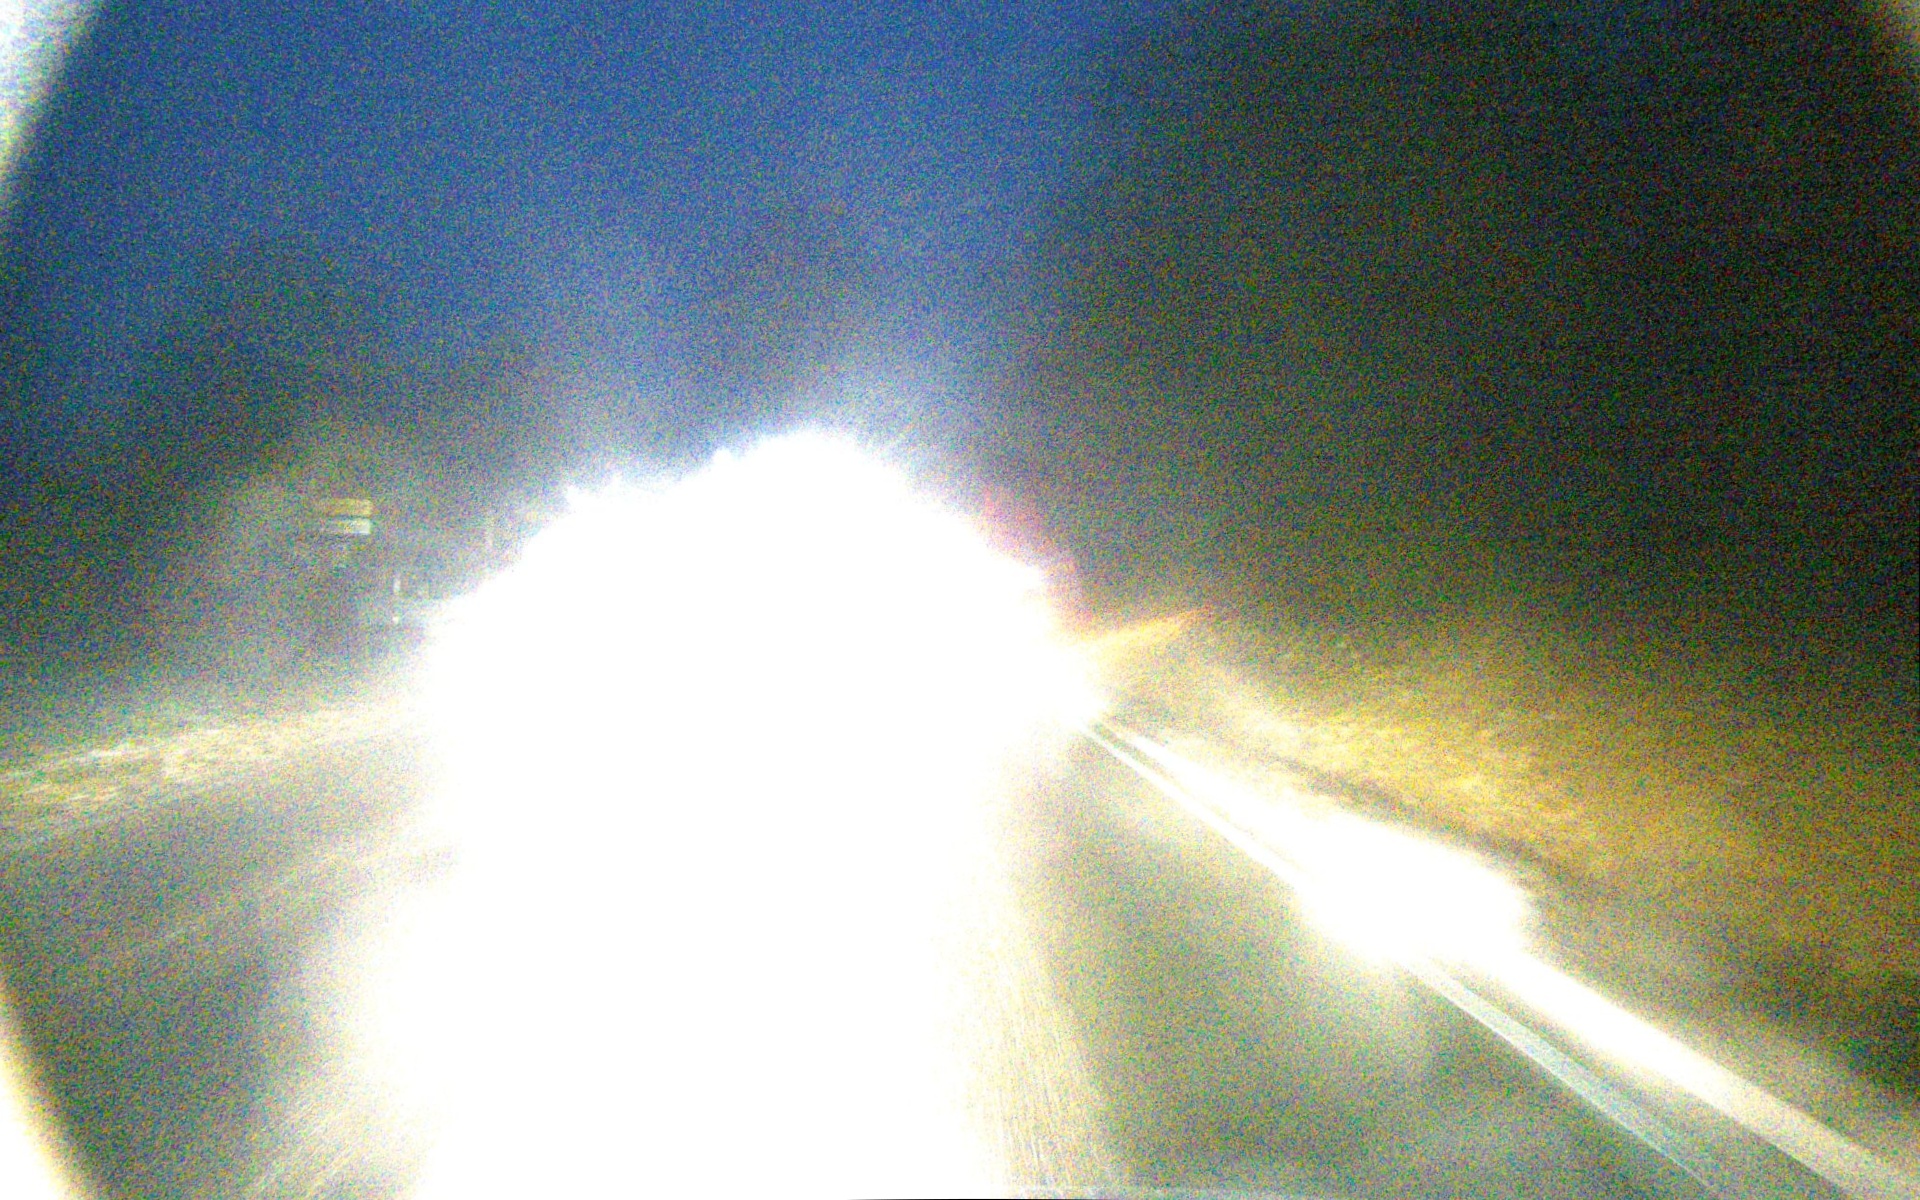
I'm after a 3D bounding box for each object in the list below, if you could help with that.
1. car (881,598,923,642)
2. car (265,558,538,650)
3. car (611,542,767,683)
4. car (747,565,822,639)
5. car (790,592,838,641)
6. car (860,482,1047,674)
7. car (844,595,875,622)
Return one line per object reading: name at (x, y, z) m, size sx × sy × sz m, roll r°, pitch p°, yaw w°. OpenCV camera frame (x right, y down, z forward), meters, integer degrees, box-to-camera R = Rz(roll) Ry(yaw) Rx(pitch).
car at (-2.504, 0.904, 72.603) m, size 1.705 × 1.744 × 3.698 m, roll 2°, pitch -2°, yaw -1°
car at (-11.094, 0.059, 33.138) m, size 4.816 × 1.765 × 1.998 m, roll 0°, pitch 0°, yaw -5°
car at (-3.779, 0.123, 23.627) m, size 1.719 × 1.764 × 3.998 m, roll 2°, pitch 1°, yaw -3°
car at (-5.318, 0.074, 50.567) m, size 1.954 × 2.103 × 3.997 m, roll 2°, pitch -1°, yaw -3°
car at (-6.153, 0.685, 70.169) m, size 1.854 × 1.944 × 3.792 m, roll 3°, pitch -1°, yaw -4°
car at (-0.217, -0.326, 24.958) m, size 2.488 × 2.541 × 5.711 m, roll 0°, pitch 1°, yaw -3°
car at (-5.924, 0.529, 97.666) m, size 1.627 × 1.507 × 3.584 m, roll 2°, pitch -1°, yaw -1°
